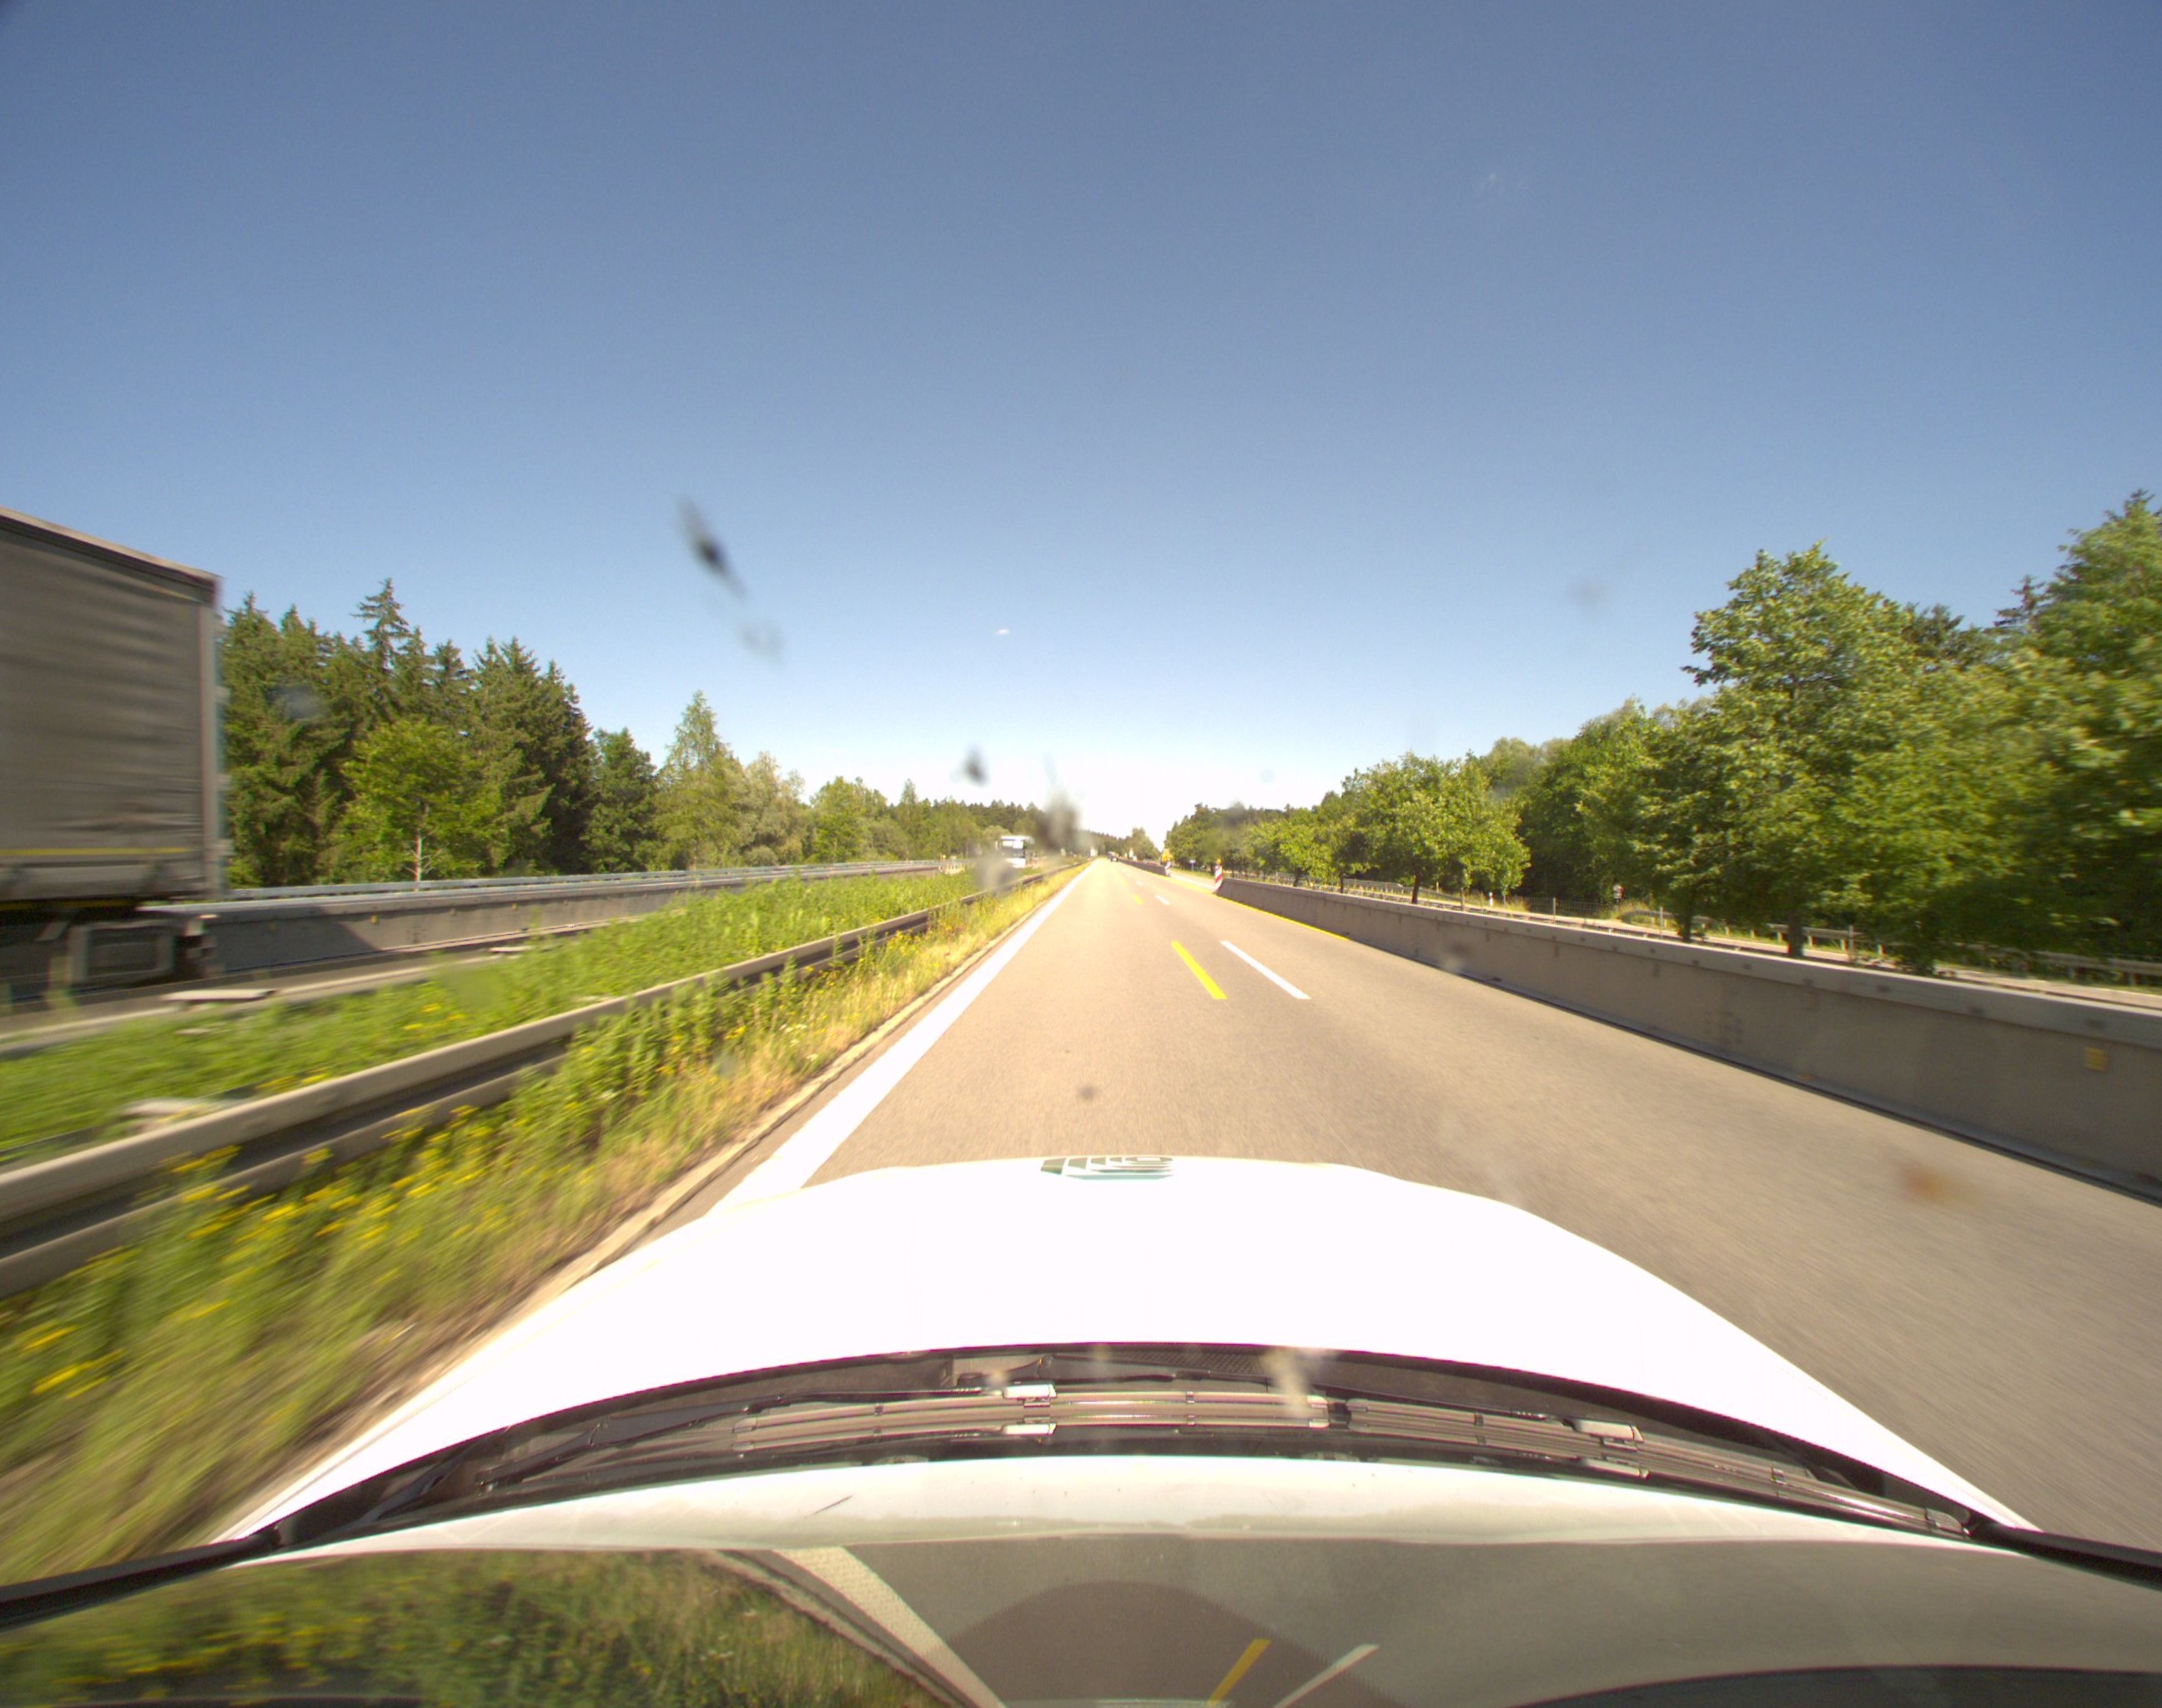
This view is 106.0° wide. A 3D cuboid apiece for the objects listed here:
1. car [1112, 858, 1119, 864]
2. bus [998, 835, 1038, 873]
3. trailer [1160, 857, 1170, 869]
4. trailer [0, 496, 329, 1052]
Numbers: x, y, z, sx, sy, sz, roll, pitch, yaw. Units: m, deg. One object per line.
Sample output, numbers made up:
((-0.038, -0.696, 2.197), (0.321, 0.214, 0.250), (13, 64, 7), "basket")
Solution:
((8.638, 1.667, 205.577), (1.737, 1.466, 4.295), (1, 0, 2), "car")
((-6.496, 0.004, 85.897), (2.871, 3.671, 12.919), (1, 0, 1), "bus")
((12.485, 1.324, 121.298), (1.121, 1.874, 3.999), (1, 0, 0), "trailer")
((-9.383, -0.596, 1.485), (2.731, 4.070, 13.999), (-1, 0, 1), "trailer")
